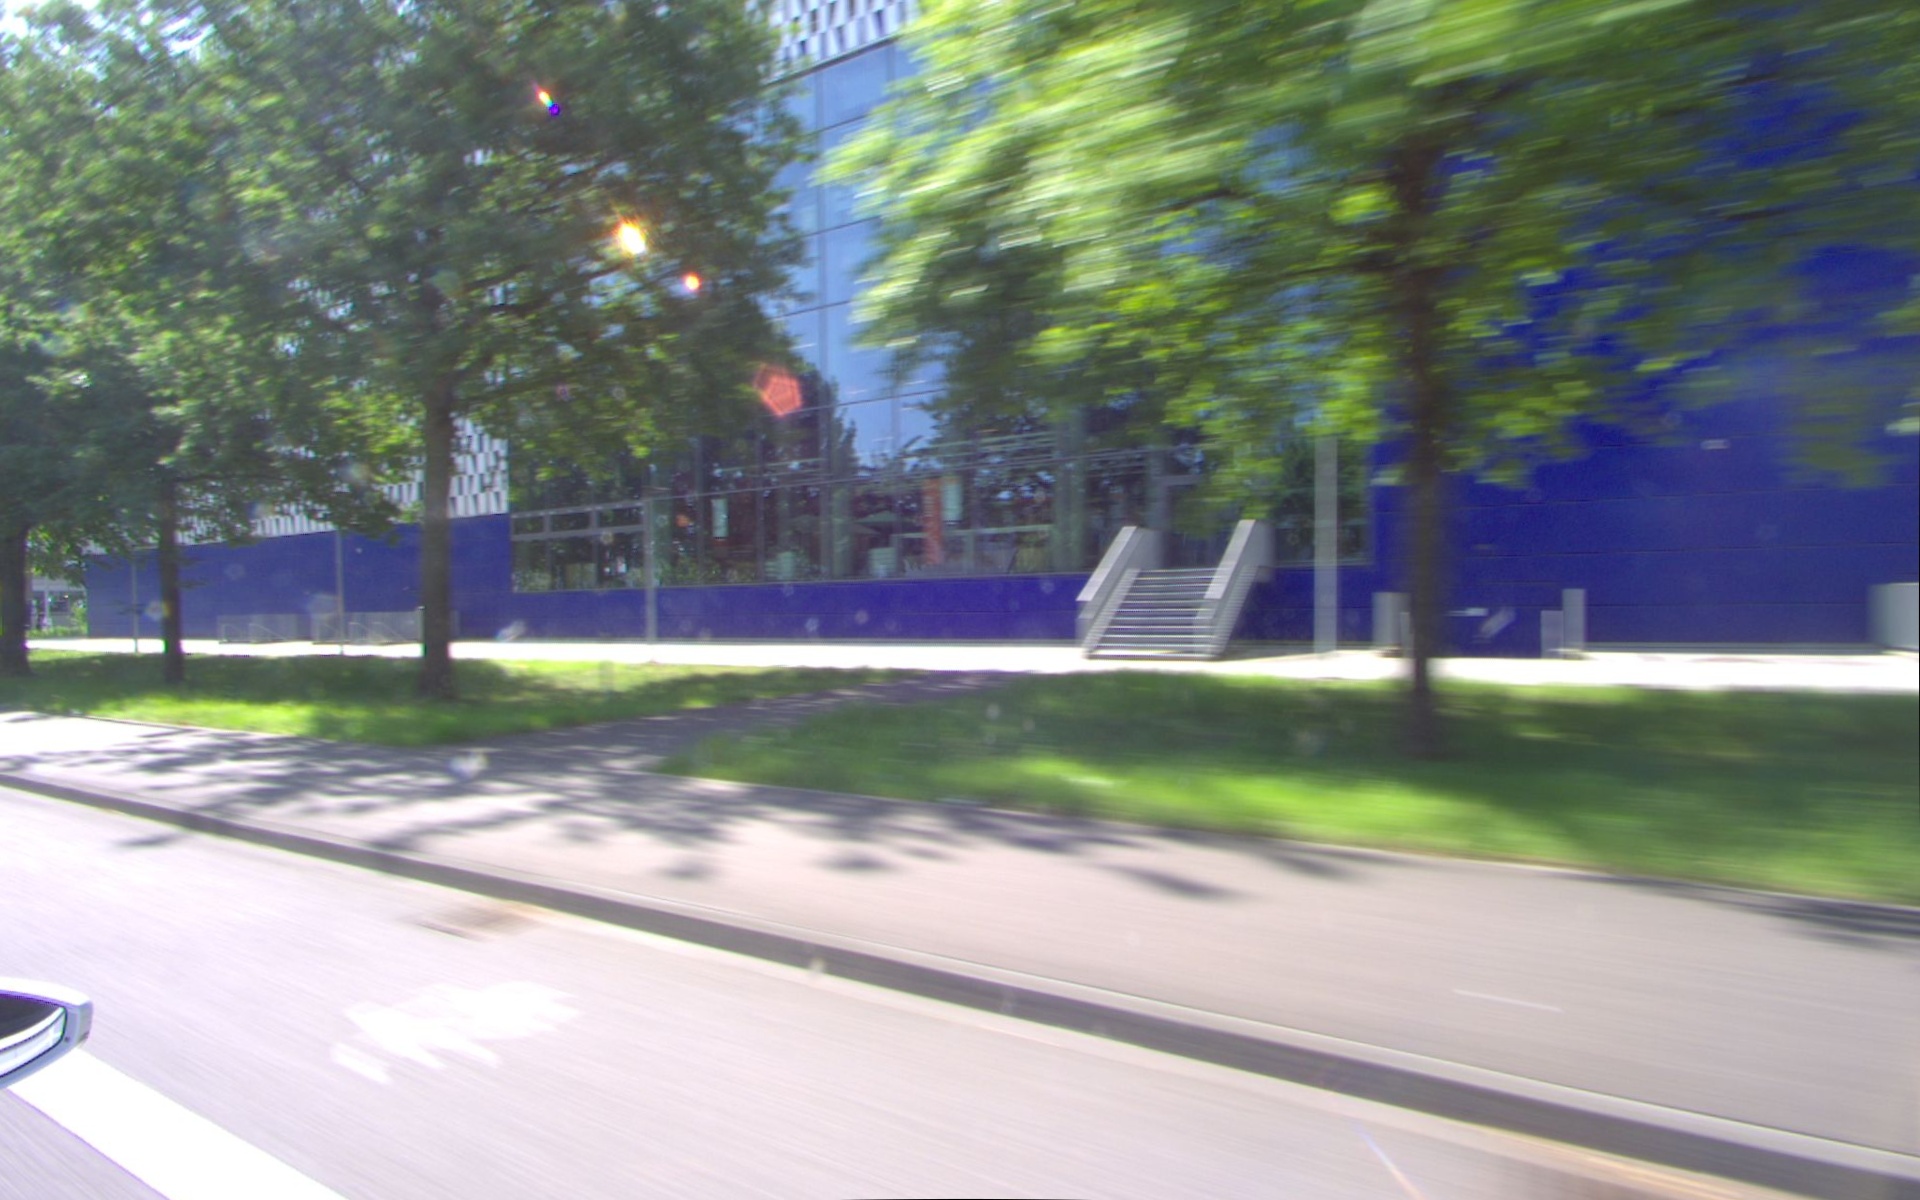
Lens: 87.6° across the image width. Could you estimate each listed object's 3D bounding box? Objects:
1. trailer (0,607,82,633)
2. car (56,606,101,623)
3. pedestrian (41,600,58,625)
[{"bbox_3d":[-95.957,1.981,100.317,1.972,2.501,11.850,1,-2,33],"label":"trailer"},{"bbox_3d":[-113.954,1.875,129.445,1.970,2.039,3.983,1,-1,30],"label":"car"},{"bbox_3d":[-67.517,0.931,74.262,0.791,1.793,0.627,-1,1,21],"label":"pedestrian"}]
